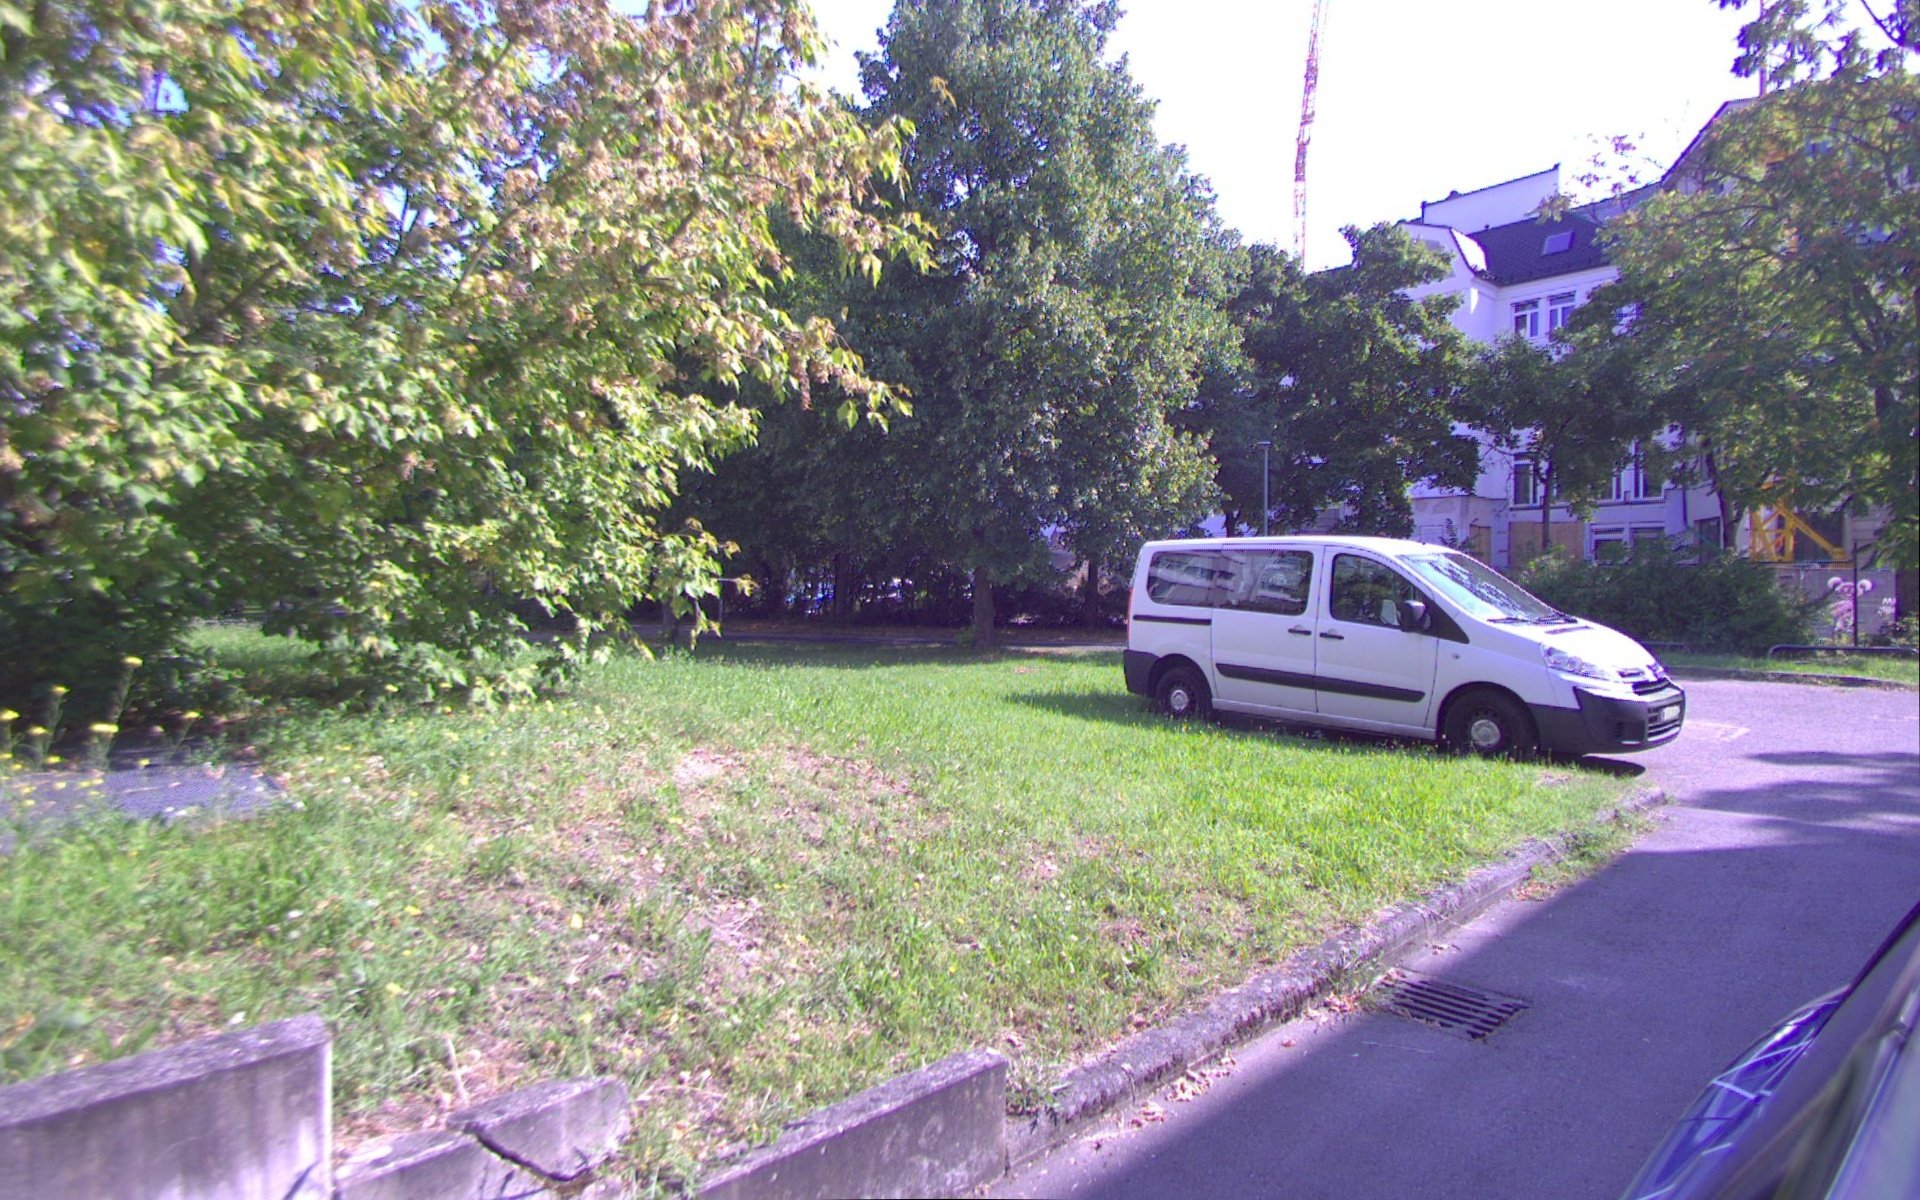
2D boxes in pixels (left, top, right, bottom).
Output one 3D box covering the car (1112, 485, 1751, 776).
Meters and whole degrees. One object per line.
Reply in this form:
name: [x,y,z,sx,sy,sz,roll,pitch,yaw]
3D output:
car: [3.954,0.181,9.352,2.008,1.945,4.968,-2,1,-39]
